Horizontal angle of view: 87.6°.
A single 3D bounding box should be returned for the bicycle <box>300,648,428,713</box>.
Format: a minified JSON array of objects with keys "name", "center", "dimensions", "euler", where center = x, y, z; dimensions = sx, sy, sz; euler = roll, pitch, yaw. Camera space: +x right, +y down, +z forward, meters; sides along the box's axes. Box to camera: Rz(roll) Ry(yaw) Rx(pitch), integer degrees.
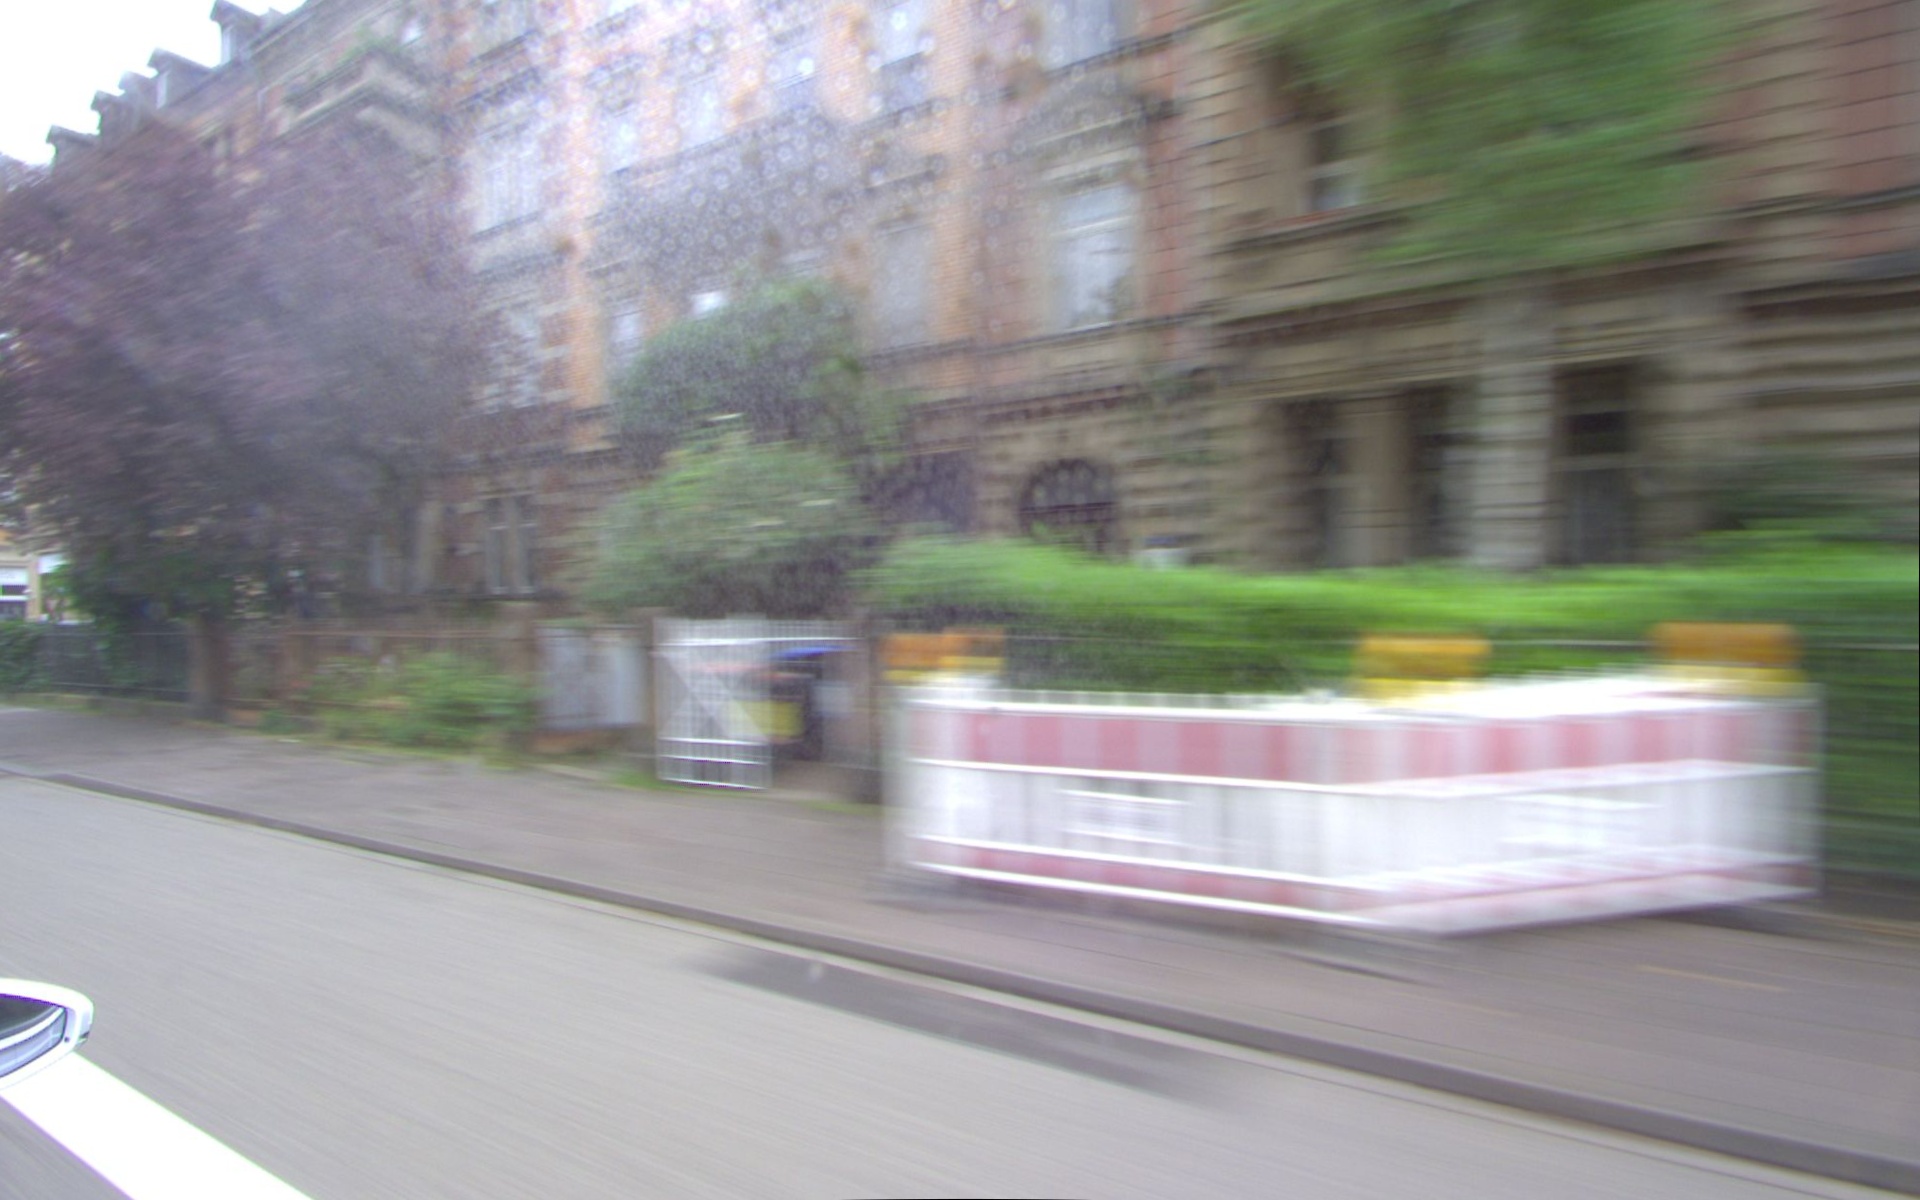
[{"name":"bicycle","center":[-9.160,1.215,15.431],"dimensions":[0.548,0.875,1.609],"euler":[0,0,40]}]
